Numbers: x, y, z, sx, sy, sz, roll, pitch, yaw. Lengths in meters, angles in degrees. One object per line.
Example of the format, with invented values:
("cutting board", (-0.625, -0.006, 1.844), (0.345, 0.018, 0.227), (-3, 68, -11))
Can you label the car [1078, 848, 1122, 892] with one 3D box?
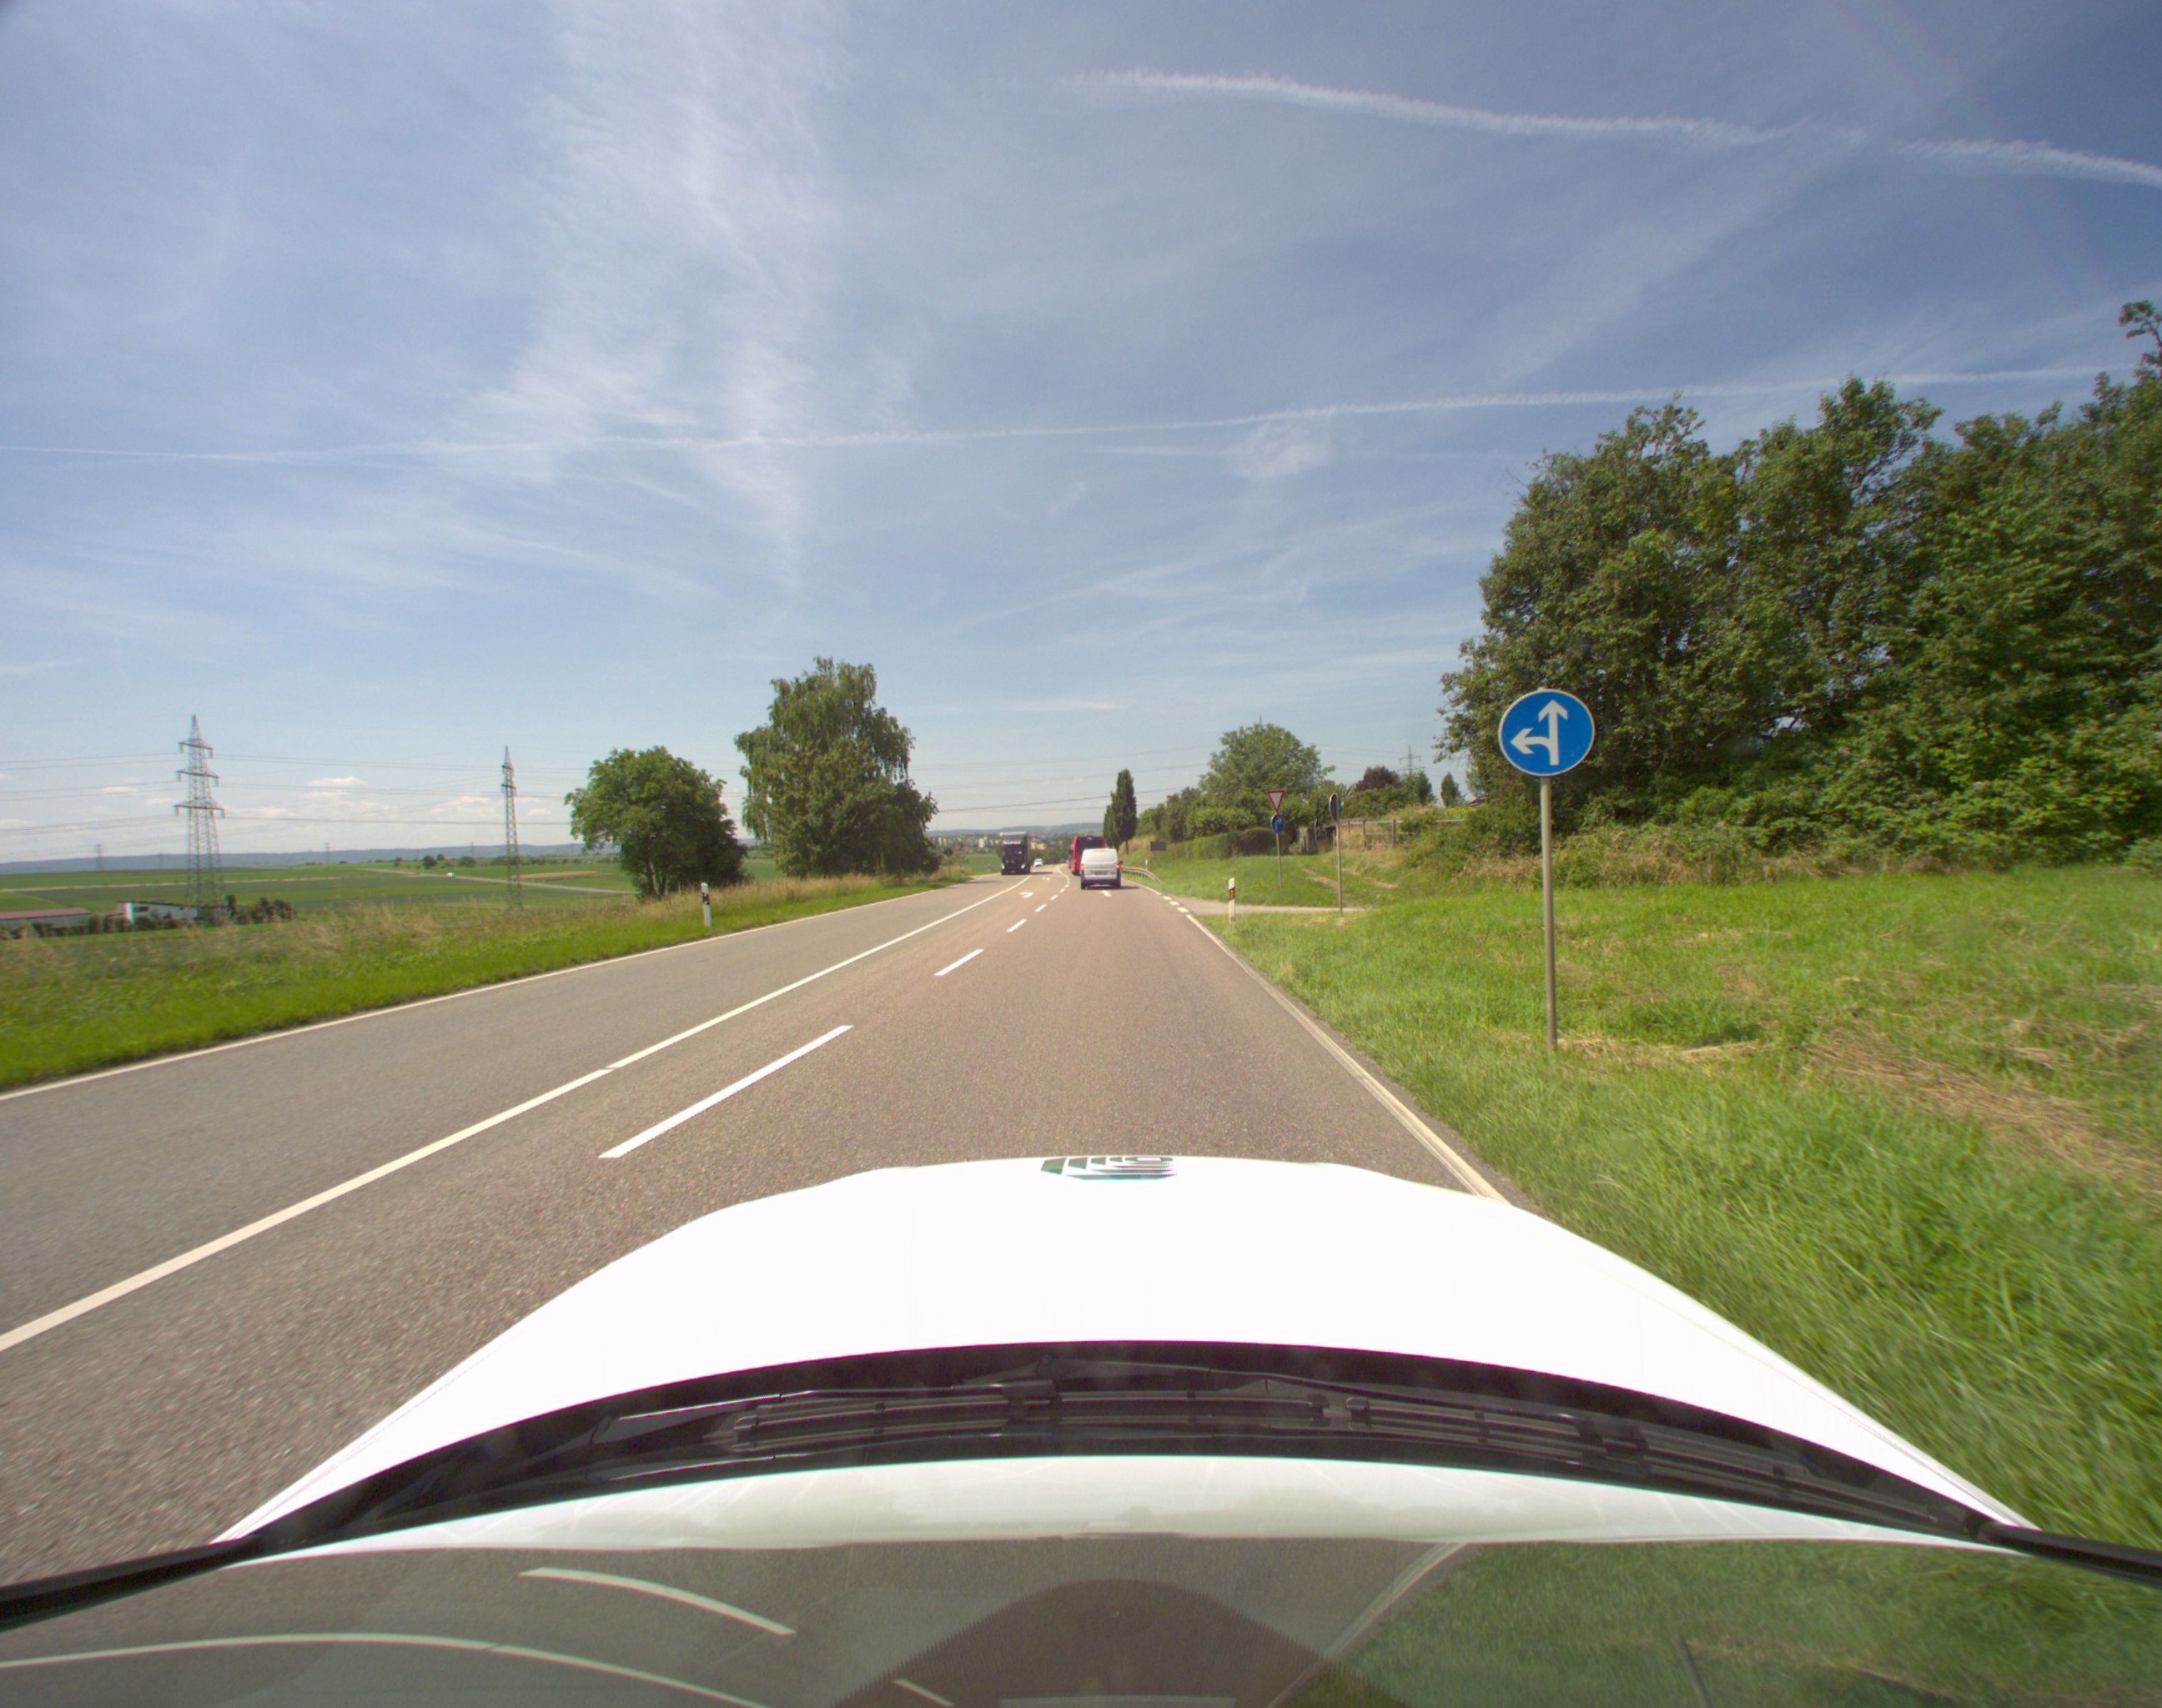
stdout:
("car", (0.967, 0.706, 39.061), (1.915, 1.889, 4.003), (-3, 0, 3))

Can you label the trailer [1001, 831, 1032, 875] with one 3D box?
("trailer", (-6.691, -0.084, 85.649), (2.586, 4.143, 13.728), (-2, 0, -2))

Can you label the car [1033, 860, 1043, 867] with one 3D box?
("car", (-9.327, 2.065, 177.514), (1.848, 1.565, 4.073), (-3, 0, 0))

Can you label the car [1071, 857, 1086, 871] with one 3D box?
("car", (-0.294, 1.419, 113.501), (1.879, 1.817, 3.765), (-3, 0, 1))

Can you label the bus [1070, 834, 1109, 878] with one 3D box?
("bus", (0.594, -0.035, 72.346), (2.740, 3.353, 13.214), (-4, 1, -2))

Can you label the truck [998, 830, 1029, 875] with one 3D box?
("truck", (-6.446, -0.130, 78.760), (2.578, 4.104, 5.438), (-2, 0, -2))

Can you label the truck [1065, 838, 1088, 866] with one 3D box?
("truck", (-0.793, -0.314, 139.519), (3.477, 4.423, 14.900), (-3, 0, 0))
